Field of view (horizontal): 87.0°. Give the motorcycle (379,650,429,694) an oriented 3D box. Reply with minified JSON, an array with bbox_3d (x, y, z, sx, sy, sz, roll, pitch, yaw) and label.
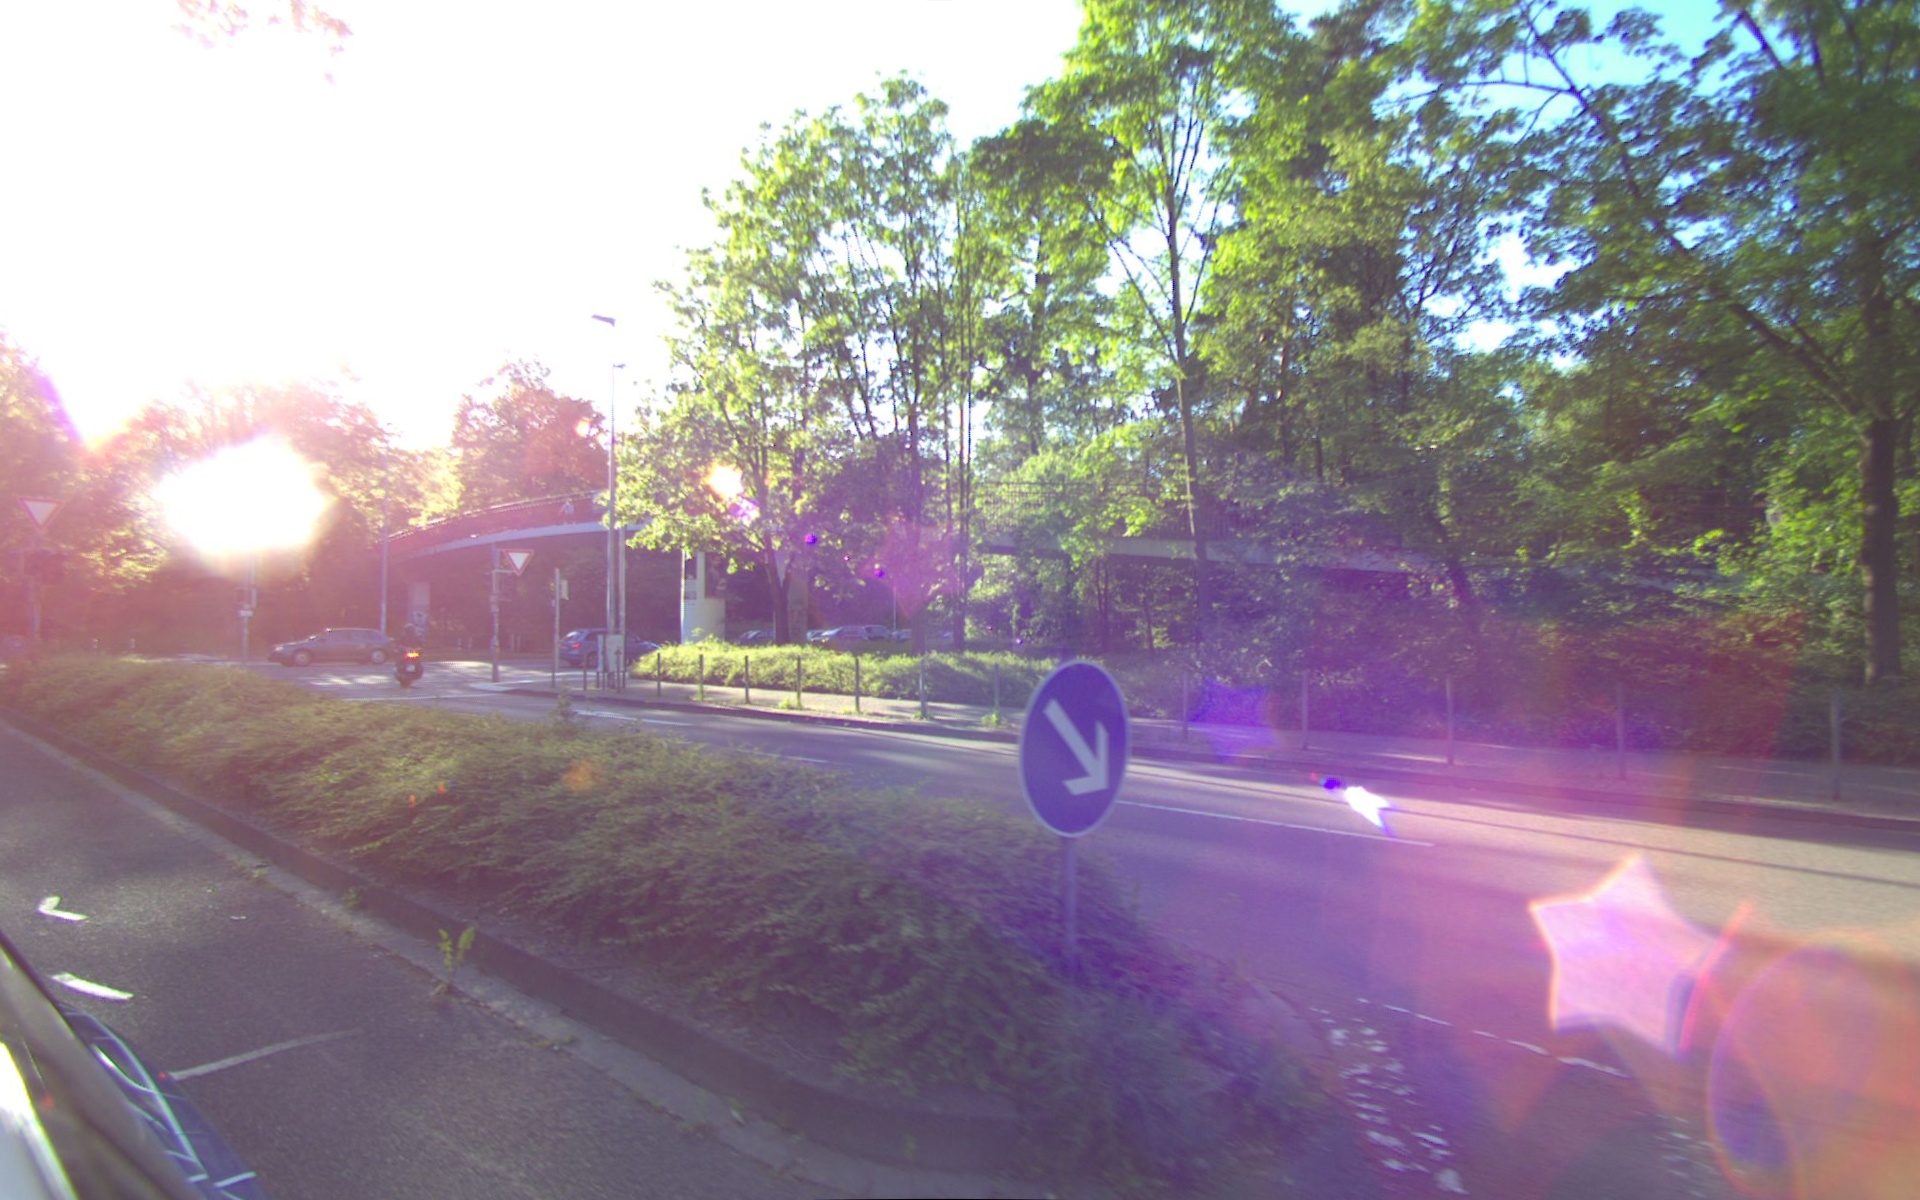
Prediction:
[{"bbox_3d":[-14.823,1.899,26.956,2.288,1.077,0.517,-2,-3,44],"label":"motorcycle"}]

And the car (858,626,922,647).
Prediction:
[{"bbox_3d":[-4.391,2.299,63.755,1.736,1.254,3.945,-2,-2,41],"label":"car"}]

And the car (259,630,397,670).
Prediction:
[{"bbox_3d":[-23.265,1.811,37.359,1.868,1.400,3.944,-1,-2,42],"label":"car"}]

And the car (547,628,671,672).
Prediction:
[{"bbox_3d":[-13.785,1.931,39.920,1.812,1.592,4.259,0,-1,42],"label":"car"}]

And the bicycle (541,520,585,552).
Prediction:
[{"bbox_3d":[-18.938,-3.041,48.223,2.449,1.383,1.036,0,-1,45],"label":"bicycle"}]

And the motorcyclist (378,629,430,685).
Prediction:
[{"bbox_3d":[-14.906,1.510,27.117,1.070,1.482,0.938,-2,-3,44],"label":"motorcyclist"}]
